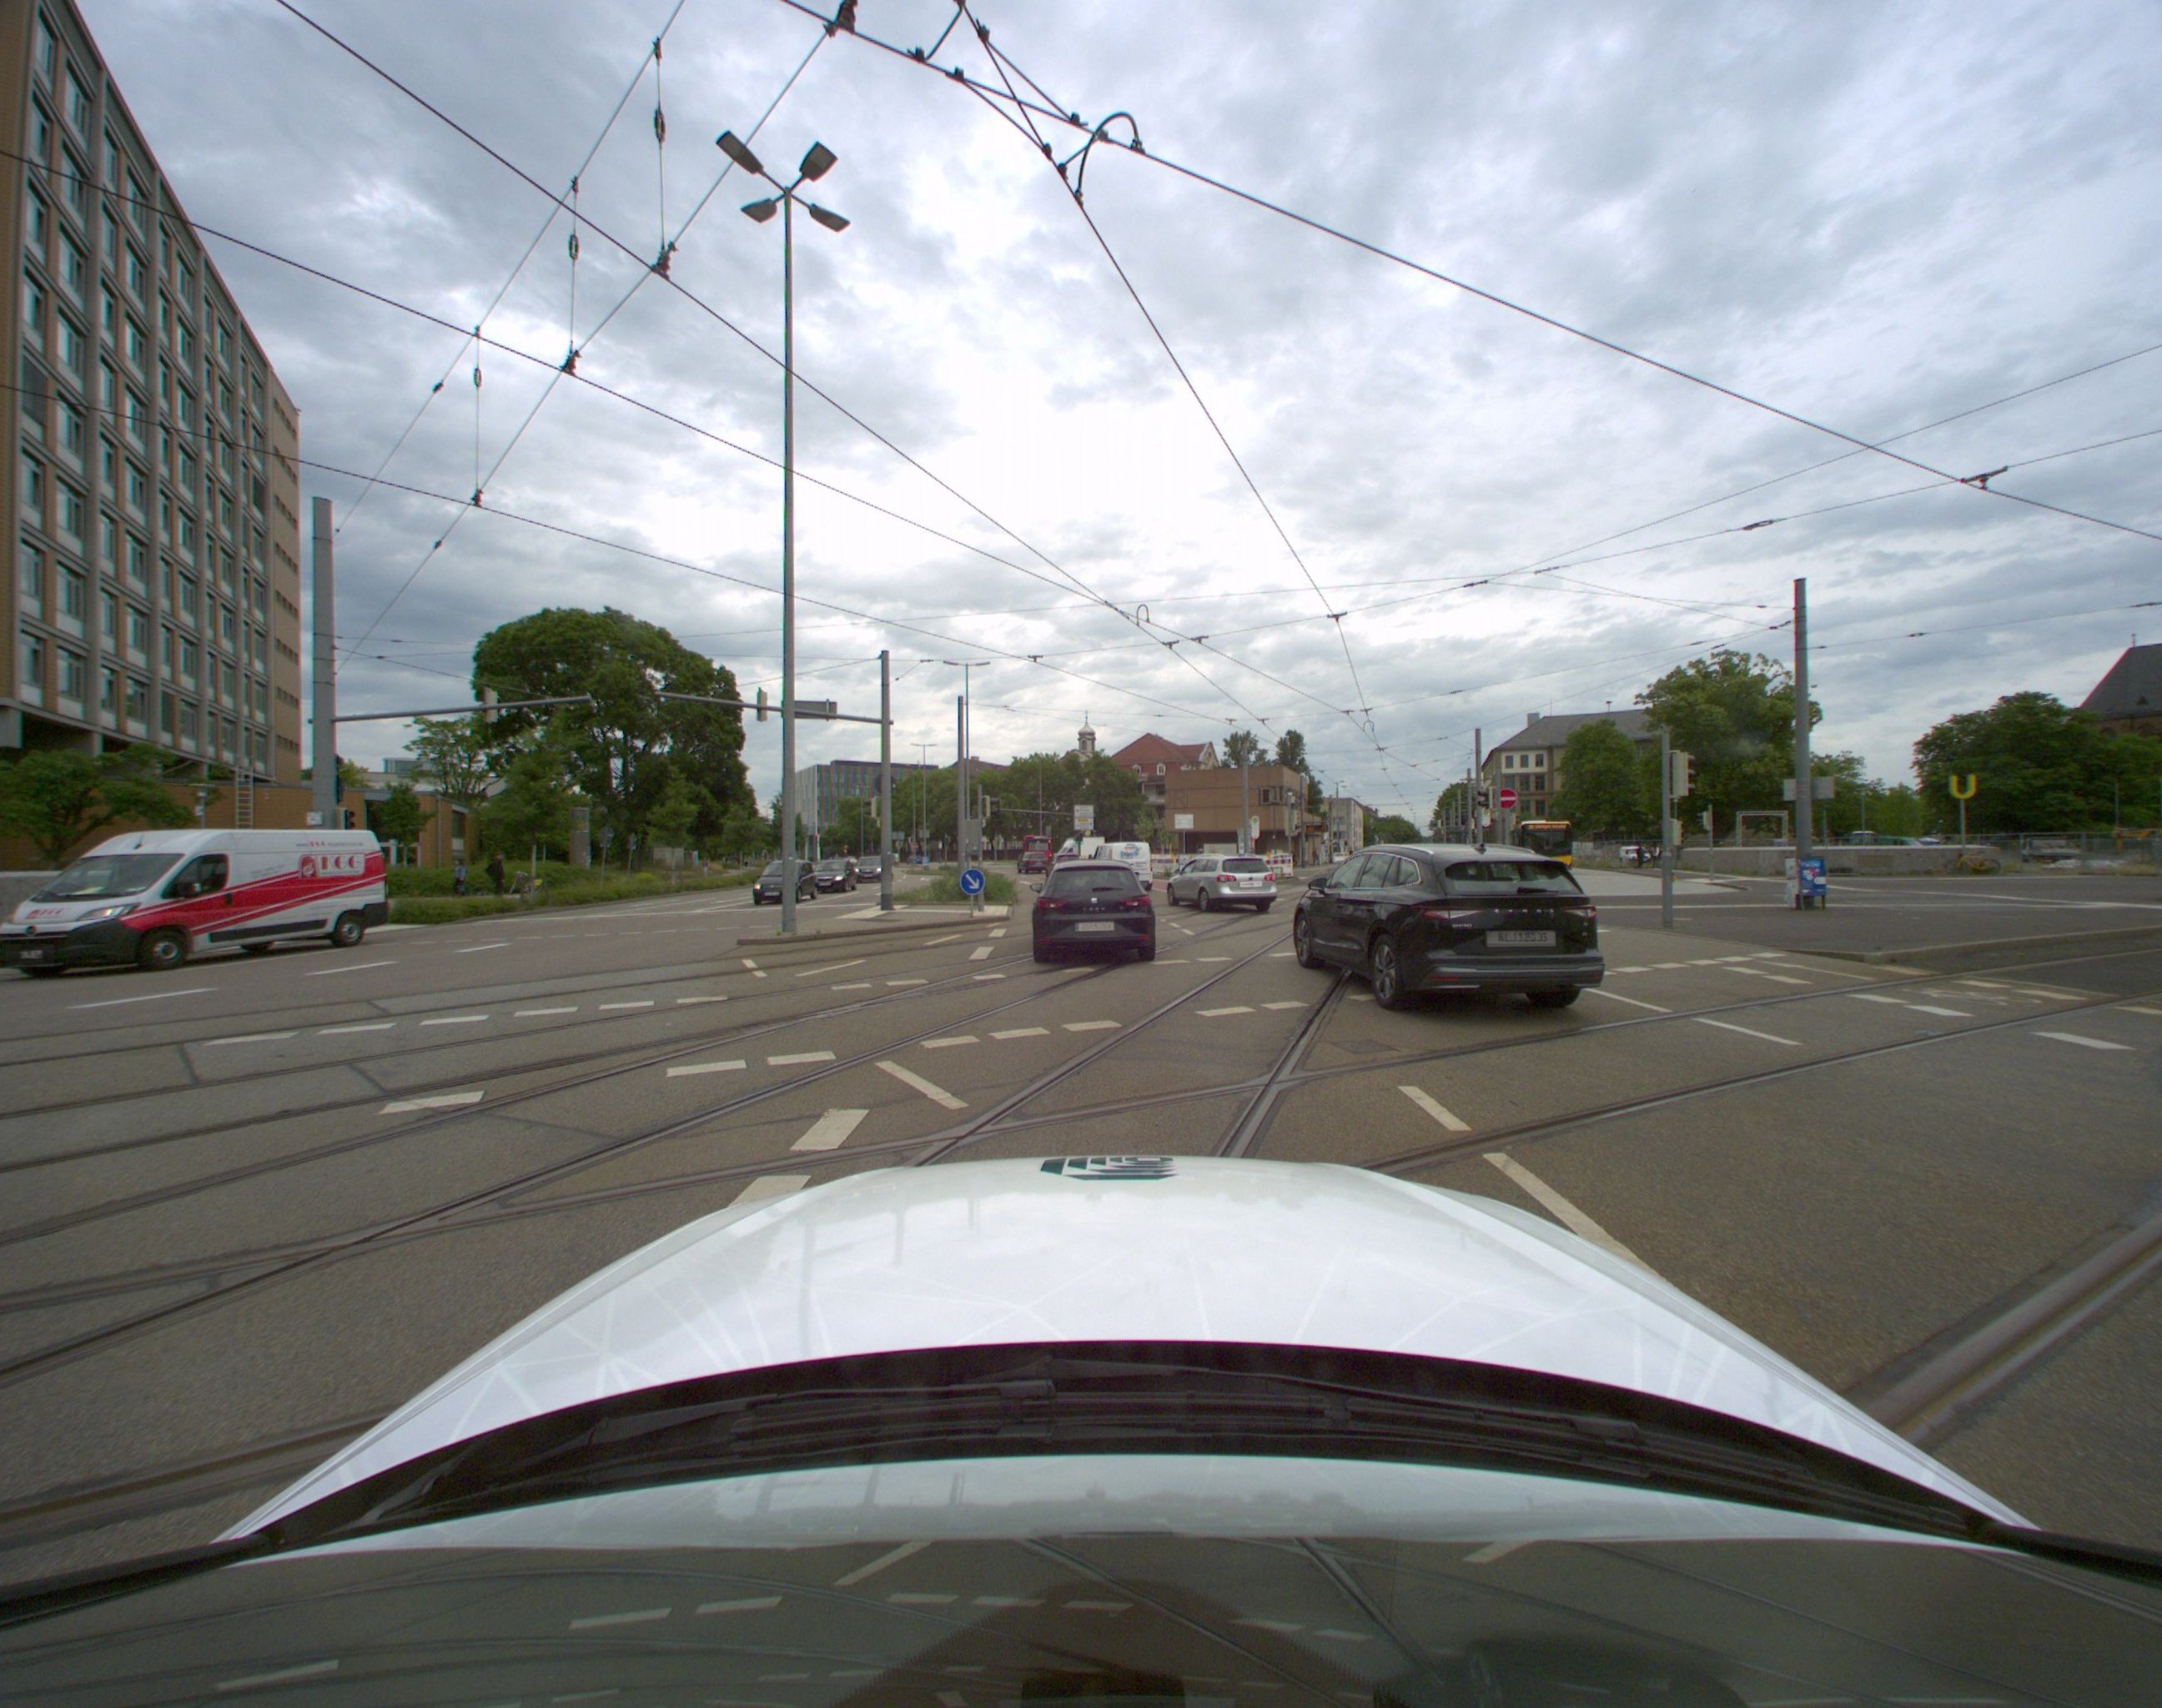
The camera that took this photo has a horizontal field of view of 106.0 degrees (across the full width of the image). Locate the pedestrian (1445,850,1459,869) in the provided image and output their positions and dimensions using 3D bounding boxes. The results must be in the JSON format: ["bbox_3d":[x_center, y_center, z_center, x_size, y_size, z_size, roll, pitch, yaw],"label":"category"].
[{"bbox_3d":[29.979,0.445,65.825,1.008,1.575,1.014,-1,0,27],"label":"pedestrian"}]

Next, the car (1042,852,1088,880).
[{"bbox_3d":[-1.049,0.707,50.331,1.862,1.600,4.182,0,0,-16],"label":"car"}]

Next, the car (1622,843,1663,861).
[{"bbox_3d":[54.207,-0.200,78.709,1.896,1.662,4.014,-1,0,13],"label":"car"}]

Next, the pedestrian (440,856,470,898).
[{"bbox_3d":[-26.492,0.978,34.476,0.745,1.733,0.685,-1,0,-2],"label":"pedestrian"}]

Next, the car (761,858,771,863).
[{"bbox_3d":[-79.218,1.627,204.883,1.723,1.265,3.307,-1,0,-31],"label":"car"}]

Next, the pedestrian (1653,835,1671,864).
[{"bbox_3d":[38.874,-0.296,54.522,0.816,1.853,1.027,-1,0,28],"label":"pedestrian"}]

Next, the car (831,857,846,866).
[{"bbox_3d":[-46.400,1.400,155.824,2.006,1.681,3.973,-1,1,-29],"label":"car"}]

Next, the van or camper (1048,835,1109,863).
[{"bbox_3d":[-0.272,-0.574,101.885,7.177,3.332,2.847,0,-2,-32],"label":"van or camper"}]

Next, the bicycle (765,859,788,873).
[{"bbox_3d":[-25.889,1.039,69.220,0.782,1.159,1.916,-1,0,20],"label":"bicycle"}]

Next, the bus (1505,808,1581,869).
[{"bbox_3d":[28.248,-0.833,50.315,2.989,3.268,13.117,0,0,25],"label":"bus"}]

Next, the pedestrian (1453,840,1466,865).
[{"bbox_3d":[28.149,-0.090,60.555,0.816,1.808,1.027,-1,0,28],"label":"pedestrian"}]

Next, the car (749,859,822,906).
[{"bbox_3d":[-10.642,0.982,29.519,1.616,1.515,3.657,-1,0,-6],"label":"car"}]

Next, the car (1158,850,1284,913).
[{"bbox_3d":[3.666,0.669,22.226,1.722,1.482,4.607,-1,0,-13],"label":"car"}]

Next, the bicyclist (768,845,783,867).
[{"bbox_3d":[-25.925,0.181,69.158,0.783,1.844,0.838,-1,0,19],"label":"bicyclist"}]

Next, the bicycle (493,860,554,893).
[{"bbox_3d":[-25.681,1.026,37.580,0.840,1.449,2.264,0,0,18],"label":"bicycle"}]

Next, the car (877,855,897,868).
[{"bbox_3d":[-31.493,1.170,132.139,2.006,2.013,3.962,-1,0,-29],"label":"car"}]

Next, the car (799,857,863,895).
[{"bbox_3d":[-11.215,0.952,36.829,1.868,1.508,4.469,-3,0,-6],"label":"car"}]

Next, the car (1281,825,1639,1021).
[{"bbox_3d":[3.801,0.591,9.212,1.898,1.658,4.513,0,0,-1],"label":"car"}]

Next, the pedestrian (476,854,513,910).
[{"bbox_3d":[-21.078,0.988,29.276,0.817,1.980,0.658,-1,0,-2],"label":"pedestrian"}]

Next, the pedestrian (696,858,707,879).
[{"bbox_3d":[-28.524,1.105,61.180,0.561,1.541,0.752,0,-1,-11],"label":"pedestrian"}]

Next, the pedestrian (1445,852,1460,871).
[{"bbox_3d":[29.144,0.587,63.905,1.008,1.402,1.014,-1,0,29],"label":"pedestrian"}]

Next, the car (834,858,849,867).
[{"bbox_3d":[-48.185,1.621,164.032,2.006,1.750,3.961,-1,0,-31],"label":"car"}]

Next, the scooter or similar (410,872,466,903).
[{"bbox_3d":[-27.784,1.438,35.213,1.776,1.302,0.626,-1,0,-19],"label":"scooter or similar"}]

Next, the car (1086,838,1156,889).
[{"bbox_3d":[1.614,0.371,34.714,1.993,2.019,5.016,0,0,-9],"label":"car"}]

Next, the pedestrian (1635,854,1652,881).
[{"bbox_3d":[38.071,0.912,55.148,0.816,1.808,1.027,-1,0,28],"label":"pedestrian"}]

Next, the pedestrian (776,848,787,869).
[{"bbox_3d":[-26.124,0.402,71.078,0.757,1.842,0.764,-2,0,-10],"label":"pedestrian"}]

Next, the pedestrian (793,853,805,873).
[{"bbox_3d":[-25.871,0.809,74.685,0.893,1.842,0.665,0,0,-11],"label":"pedestrian"}]

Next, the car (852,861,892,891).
[{"bbox_3d":[-13.028,1.313,51.015,1.869,1.725,4.699,-2,0,-8],"label":"car"}]

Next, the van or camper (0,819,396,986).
[{"bbox_3d":[-16.352,0.758,15.303,2.272,2.527,5.570,-1,0,-1],"label":"van or camper"}]

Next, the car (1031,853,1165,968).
[{"bbox_3d":[0.109,0.742,12.799,1.742,1.464,3.995,-2,0,-4],"label":"car"}]

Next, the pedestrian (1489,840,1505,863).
[{"bbox_3d":[29.411,-0.170,57.587,0.995,1.645,1.027,-1,0,28],"label":"pedestrian"}]

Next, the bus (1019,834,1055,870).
[{"bbox_3d":[-4.509,-0.172,81.058,3.054,3.298,12.352,0,0,-6],"label":"bus"}]

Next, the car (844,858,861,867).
[{"bbox_3d":[-41.388,1.538,147.407,2.006,1.640,3.961,-1,0,-30],"label":"car"}]

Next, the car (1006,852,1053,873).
[{"bbox_3d":[-4.058,0.613,63.306,2.006,1.566,4.163,0,0,-31],"label":"car"}]
